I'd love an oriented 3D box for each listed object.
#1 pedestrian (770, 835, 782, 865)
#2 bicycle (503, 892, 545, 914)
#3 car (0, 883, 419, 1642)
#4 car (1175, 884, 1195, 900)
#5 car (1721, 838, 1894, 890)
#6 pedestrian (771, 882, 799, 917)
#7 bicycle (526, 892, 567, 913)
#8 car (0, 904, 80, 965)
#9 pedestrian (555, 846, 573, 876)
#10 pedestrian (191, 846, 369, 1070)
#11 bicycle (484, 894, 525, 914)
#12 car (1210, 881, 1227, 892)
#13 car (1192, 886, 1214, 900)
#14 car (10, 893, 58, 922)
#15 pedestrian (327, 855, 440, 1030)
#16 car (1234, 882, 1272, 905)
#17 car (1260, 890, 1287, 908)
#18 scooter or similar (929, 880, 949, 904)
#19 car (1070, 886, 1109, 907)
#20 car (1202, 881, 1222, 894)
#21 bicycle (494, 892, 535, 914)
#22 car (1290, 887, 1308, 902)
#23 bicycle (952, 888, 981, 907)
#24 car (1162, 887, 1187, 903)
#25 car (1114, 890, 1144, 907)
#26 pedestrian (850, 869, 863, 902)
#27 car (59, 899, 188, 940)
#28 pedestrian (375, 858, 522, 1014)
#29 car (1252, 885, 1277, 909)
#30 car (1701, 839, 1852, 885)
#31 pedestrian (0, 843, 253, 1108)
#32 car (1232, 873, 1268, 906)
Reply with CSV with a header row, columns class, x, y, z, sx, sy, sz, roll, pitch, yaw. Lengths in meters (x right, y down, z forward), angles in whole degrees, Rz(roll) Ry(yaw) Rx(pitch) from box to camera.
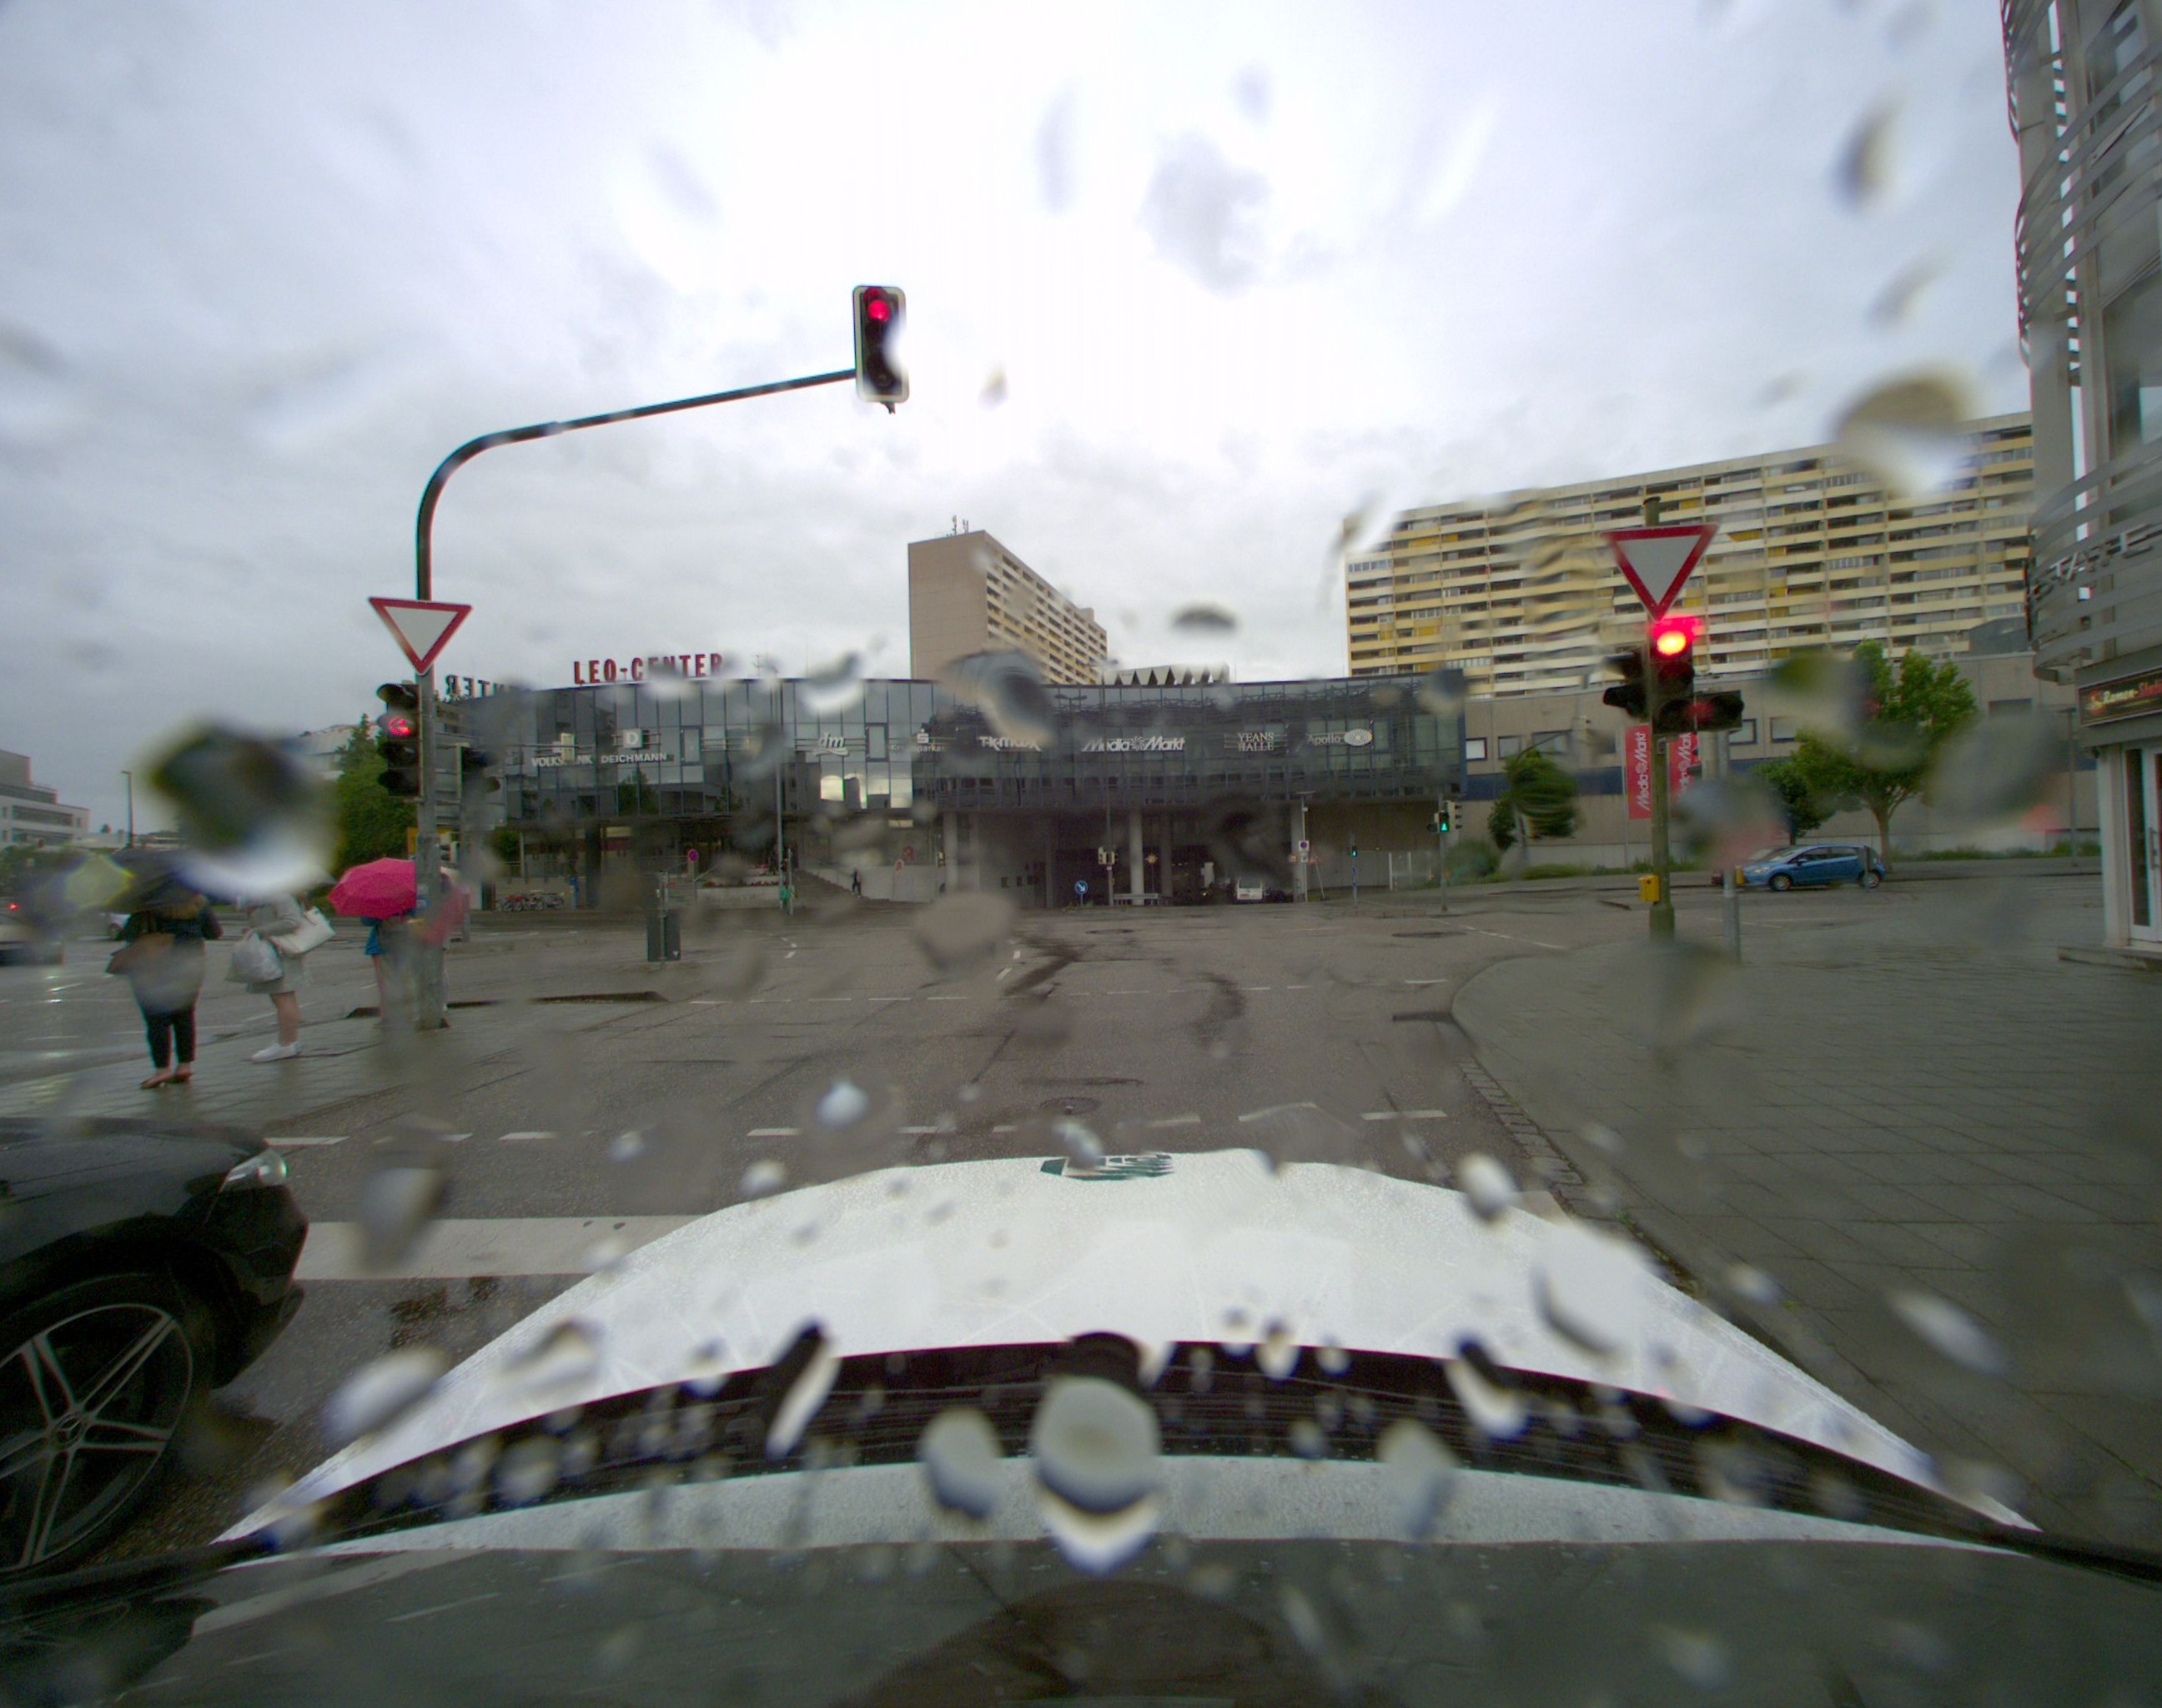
class,x,y,z,sx,sy,sz,roll,pitch,yaw
pedestrian,-18.416,-0.226,49.145,0.633,1.807,0.501,0,-1,-16
bicycle,-31.687,2.792,46.361,0.640,1.042,1.865,-3,1,20
car,-3.007,0.851,0.602,1.657,1.481,4.094,0,0,0
car,12.246,4.405,95.898,1.823,1.728,4.014,-2,-1,13
car,23.404,0.340,26.375,3.819,1.397,1.684,-3,-2,10
pedestrian,-14.225,2.186,39.152,0.945,1.623,0.809,-2,-1,2
bicycle,-30.100,2.737,45.884,0.625,1.023,1.864,-3,1,20
car,-28.204,2.079,21.114,5.079,1.414,2.136,-3,-2,31
pedestrian,-30.403,0.413,47.872,0.592,1.714,0.658,-1,-1,25
pedestrian,-6.891,0.823,7.007,1.123,1.744,0.865,-3,-1,34
bicycle,-33.082,2.873,46.745,0.529,0.951,1.865,-1,2,23
car,19.290,4.539,114.250,1.979,1.464,4.016,-3,-2,15
car,15.240,4.850,101.610,1.978,1.664,4.018,0,-1,17
car,-75.243,3.784,58.518,4.085,1.896,2.062,-1,-1,38
pedestrian,-7.228,0.875,8.441,0.665,1.685,0.811,-4,-2,45
car,11.870,2.760,56.096,1.742,1.464,3.963,-3,-5,23
car,15.571,3.652,65.676,1.765,1.400,4.017,-3,-4,17
scooter or similar,-8.481,2.262,48.522,1.167,1.373,0.487,0,-1,-13
car,0.703,3.280,62.719,1.877,1.470,4.044,-2,-5,18
car,17.576,4.472,109.206,1.978,1.464,4.018,-3,-2,17
bicycle,-32.397,2.804,46.606,0.621,1.033,1.865,-3,1,20
car,24.264,4.464,90.413,1.874,1.491,3.856,-1,-1,16
bicycle,-6.888,2.600,48.978,1.591,1.018,0.448,5,-3,-29
car,10.499,4.526,91.136,1.899,1.588,3.957,-3,-2,17
car,4.416,4.033,74.417,1.756,1.464,3.892,-3,-3,17
pedestrian,-13.091,1.807,47.498,0.655,1.908,0.593,-1,-1,-6
car,-37.315,2.555,31.769,3.949,1.441,1.754,-2,-1,16
pedestrian,-7.232,0.901,9.363,0.932,1.677,0.917,-2,-1,1
car,13.749,3.248,60.870,1.621,1.612,4.277,-3,-5,13
car,24.849,0.307,29.223,3.660,1.395,1.750,-3,-2,11
pedestrian,-6.956,0.815,6.009,0.956,1.736,0.829,-2,-2,-28
car,10.100,2.099,48.499,1.912,1.798,4.310,-2,-2,13
